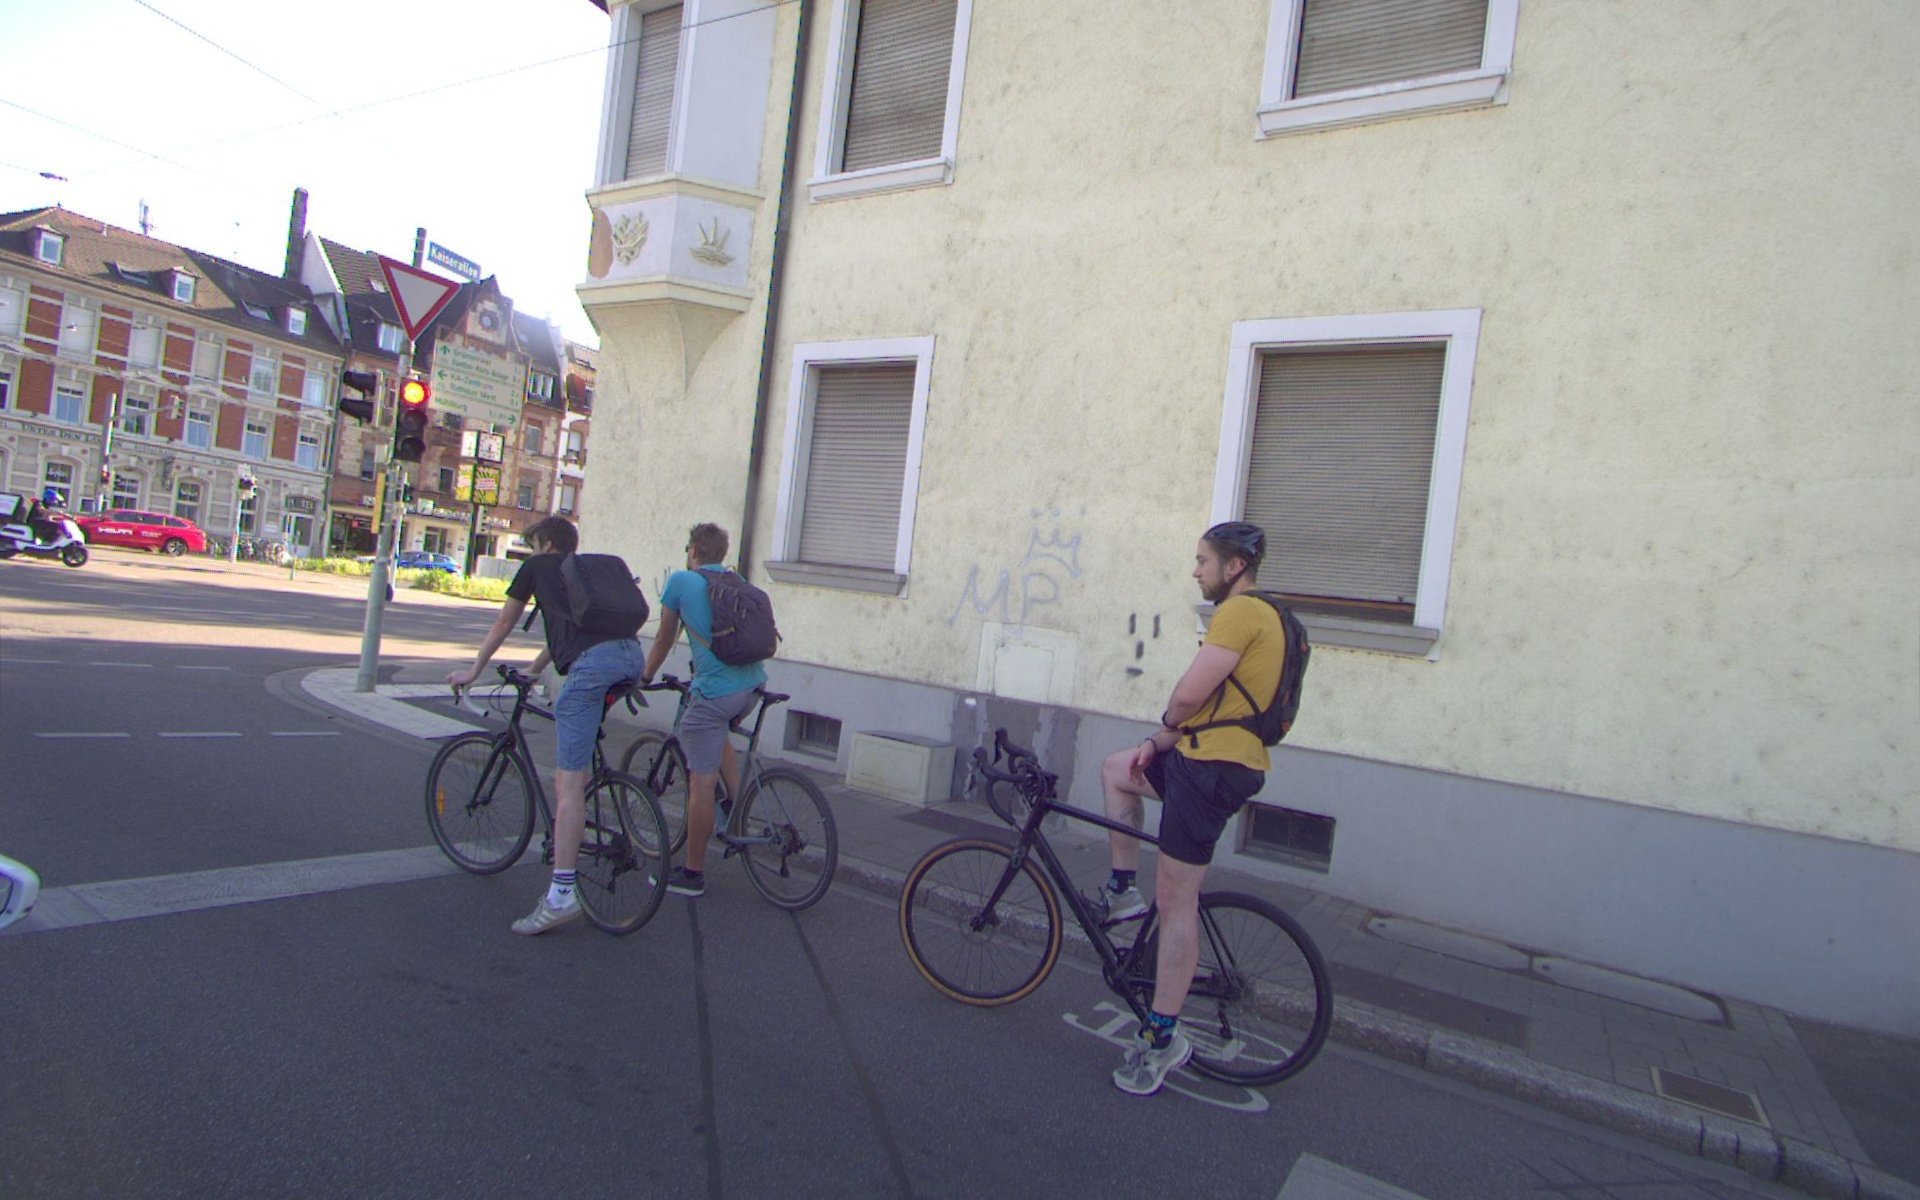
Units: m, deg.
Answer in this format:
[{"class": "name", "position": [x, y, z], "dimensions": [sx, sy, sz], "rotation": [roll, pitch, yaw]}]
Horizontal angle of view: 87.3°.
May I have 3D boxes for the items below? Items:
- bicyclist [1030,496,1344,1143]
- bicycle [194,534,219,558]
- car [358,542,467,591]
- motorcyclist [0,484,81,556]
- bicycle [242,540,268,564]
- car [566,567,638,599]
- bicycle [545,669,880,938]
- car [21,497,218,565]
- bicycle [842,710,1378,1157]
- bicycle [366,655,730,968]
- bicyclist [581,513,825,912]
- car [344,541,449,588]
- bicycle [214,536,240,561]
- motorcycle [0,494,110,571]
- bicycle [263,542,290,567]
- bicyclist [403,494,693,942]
[{"class": "bicyclist", "position": [0.842, 0.707, 3.665], "dimensions": [0.763, 1.990, 0.783], "rotation": [7, 0, 18]}, {"class": "bicycle", "position": [-34.765, -2.503, 46.396], "dimensions": [0.762, 0.979, 2.186], "rotation": [8, -2, -39]}, {"class": "car", "position": [-25.445, -1.543, 46.885], "dimensions": [1.775, 1.641, 3.994], "rotation": [6, -2, 33]}, {"class": "motorcyclist", "position": [-19.688, -1.695, 21.487], "dimensions": [1.002, 1.315, 0.787], "rotation": [8, -1, -16]}, {"class": "bicycle", "position": [-33.634, -2.302, 47.982], "dimensions": [0.762, 1.019, 2.196], "rotation": [8, -2, -39]}, {"class": "car", "position": [-23.154, -1.082, 65.139], "dimensions": [1.842, 1.454, 3.985], "rotation": [6, -2, 35]}, {"class": "bicycle", "position": [-1.324, 0.976, 5.215], "dimensions": [1.753, 0.995, 0.504], "rotation": [6, -1, 32]}, {"class": "car", "position": [-29.252, -2.359, 35.195], "dimensions": [1.773, 1.487, 4.867], "rotation": [8, -1, 31]}, {"class": "bicycle", "position": [0.559, 1.121, 3.809], "dimensions": [1.709, 1.119, 0.783], "rotation": [7, -1, 18]}, {"class": "bicycle", "position": [-1.908, 0.865, 4.548], "dimensions": [1.753, 1.003, 0.482], "rotation": [6, -1, 32]}, {"class": "bicyclist", "position": [-1.348, 0.539, 5.265], "dimensions": [0.960, 1.868, 0.504], "rotation": [6, -1, 32]}, {"class": "car", "position": [-27.543, -1.725, 49.300], "dimensions": [1.775, 1.641, 3.994], "rotation": [6, -2, 33]}, {"class": "bicycle", "position": [-34.269, -2.412, 47.018], "dimensions": [0.762, 0.995, 2.186], "rotation": [8, -2, -39]}, {"class": "motorcycle", "position": [-19.620, -1.462, 21.382], "dimensions": [2.110, 1.349, 0.794], "rotation": [8, -1, -16]}, {"class": "bicycle", "position": [-33.018, -2.196, 48.607], "dimensions": [0.789, 1.027, 2.186], "rotation": [8, -2, -39]}, {"class": "bicyclist", "position": [-1.860, 0.478, 4.551], "dimensions": [0.920, 1.787, 0.590], "rotation": [6, -1, 32]}]
